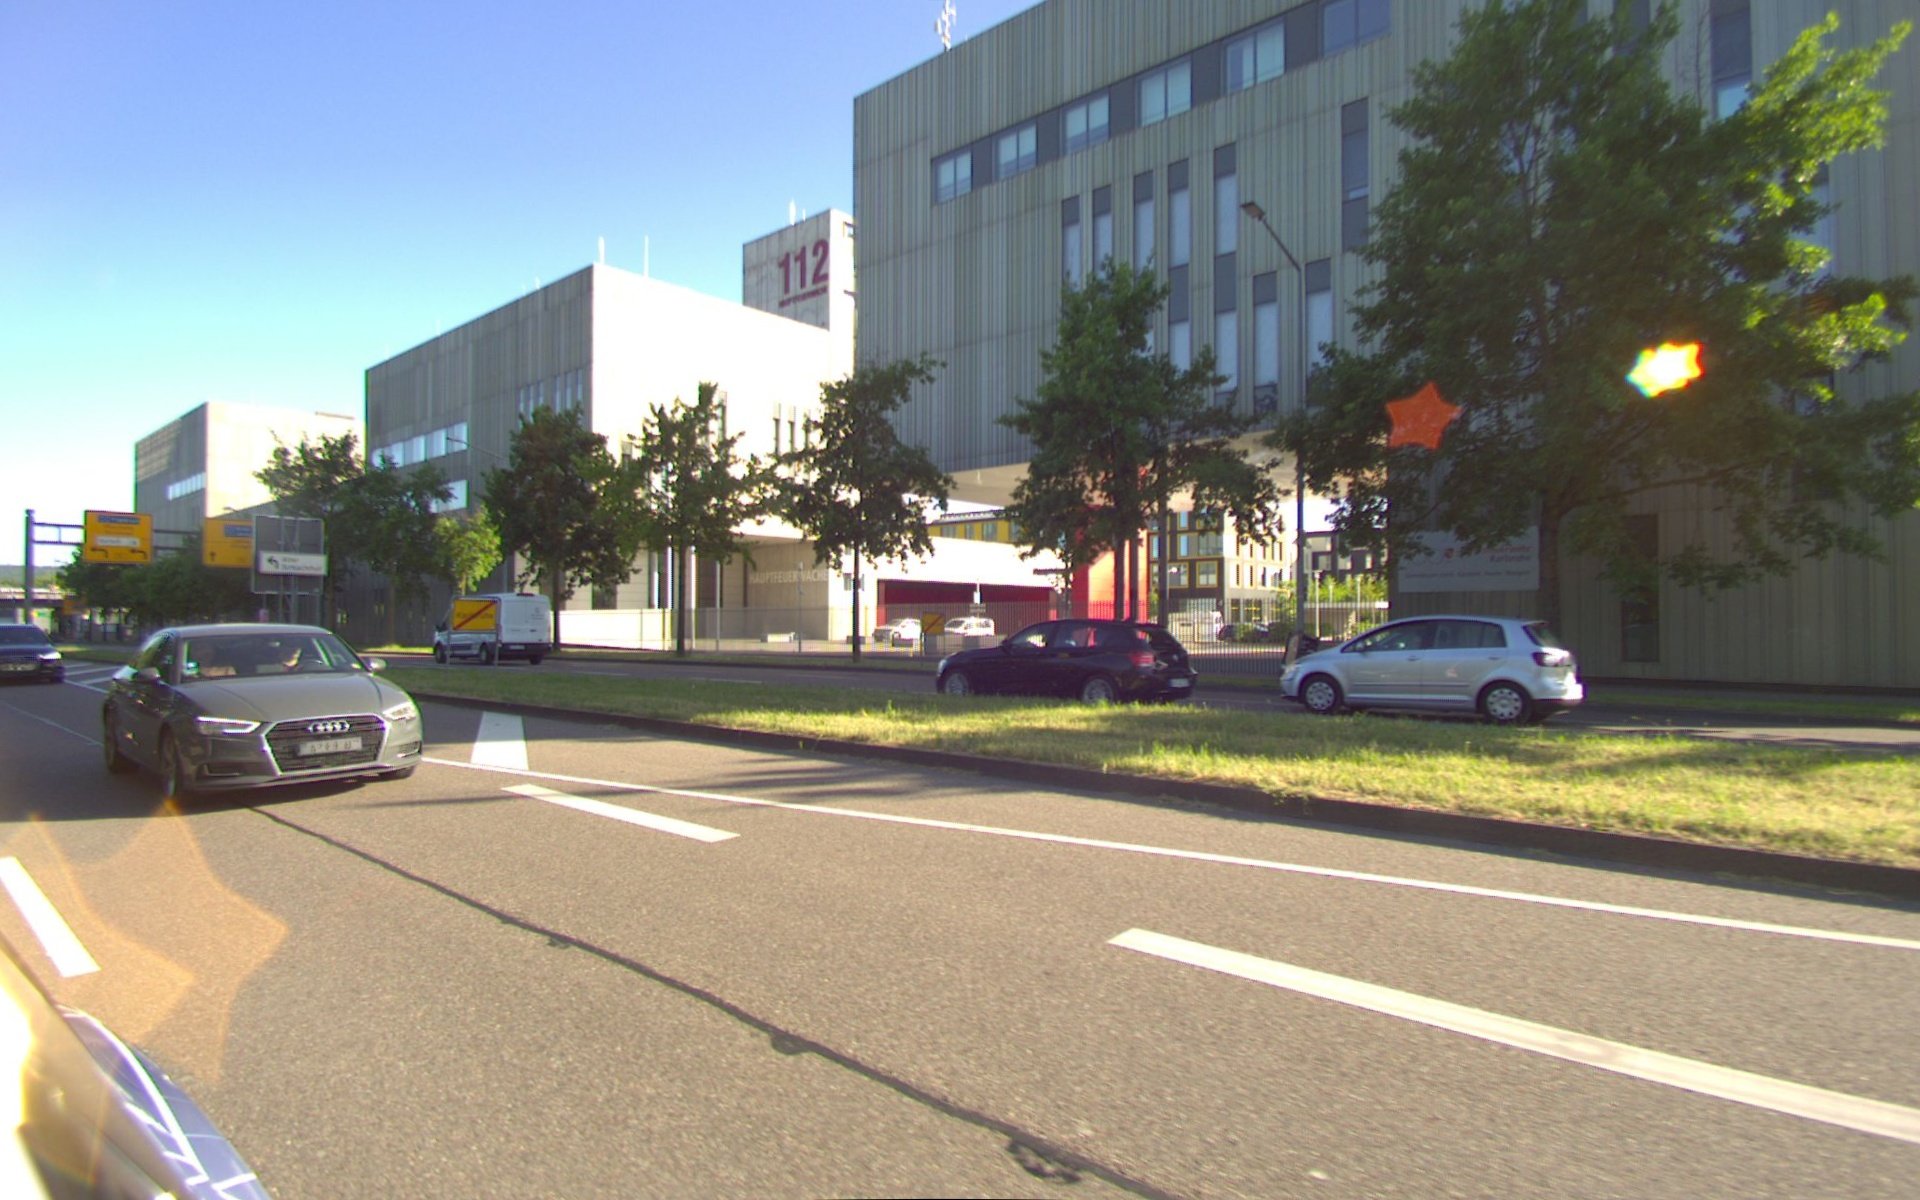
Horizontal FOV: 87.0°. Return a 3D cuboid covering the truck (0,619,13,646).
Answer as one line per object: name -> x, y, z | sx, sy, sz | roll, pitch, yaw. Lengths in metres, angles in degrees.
truck -> -109.643, 3.653, 114.704 | 7.112, 2.983, 2.657 | -2, -4, 42

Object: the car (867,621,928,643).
car -> -4.356, 2.230, 70.802 | 1.762, 1.464, 4.209 | -2, -2, 43

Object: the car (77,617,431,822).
car -> -6.587, 0.906, 9.237 | 4.363, 1.415, 1.680 | -2, -1, 41

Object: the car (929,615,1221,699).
car -> 1.676, 0.821, 15.563 | 4.170, 1.120, 1.809 | -1, -2, 40

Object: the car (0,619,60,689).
car -> -22.975, 1.266, 24.225 | 3.944, 1.549, 1.680 | -2, -1, 41

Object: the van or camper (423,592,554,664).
van or camper -> -17.045, 1.047, 36.425 | 5.990, 2.387, 1.973 | -2, -4, 41

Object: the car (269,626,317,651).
car -> -39.247, 2.249, 59.494 | 3.457, 1.447, 1.431 | -2, -2, 40

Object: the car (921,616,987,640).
car -> -0.352, 1.812, 66.489 | 1.935, 1.514, 4.340 | -2, -2, 43

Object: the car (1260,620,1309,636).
car -> 25.332, 2.200, 79.029 | 3.381, 1.268, 1.348 | -2, -2, 41

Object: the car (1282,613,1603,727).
car -> 7.101, 0.963, 15.115 | 4.045, 1.488, 1.671 | -1, -2, 40

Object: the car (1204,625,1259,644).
car -> 18.652, 2.391, 69.632 | 3.381, 1.268, 1.348 | -2, -2, 41
